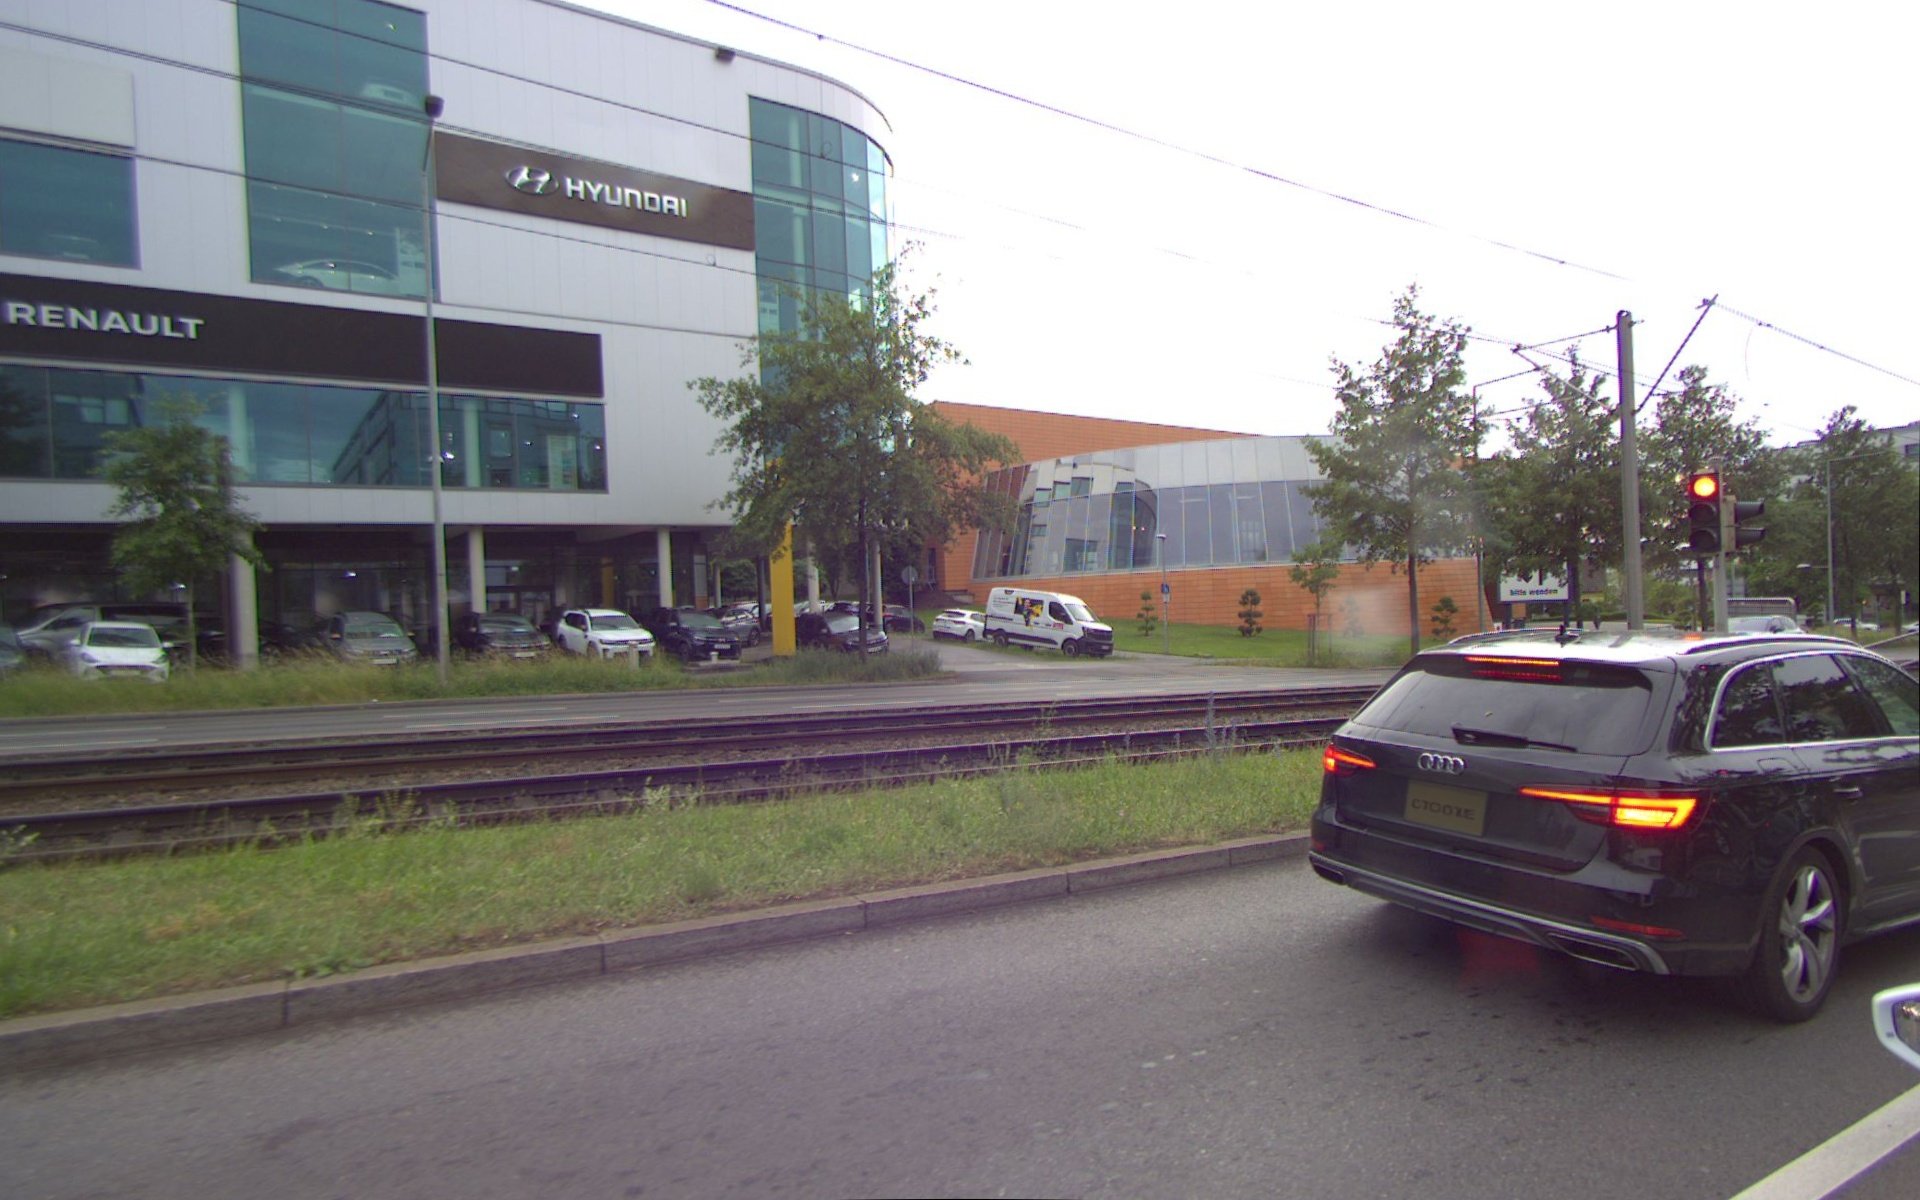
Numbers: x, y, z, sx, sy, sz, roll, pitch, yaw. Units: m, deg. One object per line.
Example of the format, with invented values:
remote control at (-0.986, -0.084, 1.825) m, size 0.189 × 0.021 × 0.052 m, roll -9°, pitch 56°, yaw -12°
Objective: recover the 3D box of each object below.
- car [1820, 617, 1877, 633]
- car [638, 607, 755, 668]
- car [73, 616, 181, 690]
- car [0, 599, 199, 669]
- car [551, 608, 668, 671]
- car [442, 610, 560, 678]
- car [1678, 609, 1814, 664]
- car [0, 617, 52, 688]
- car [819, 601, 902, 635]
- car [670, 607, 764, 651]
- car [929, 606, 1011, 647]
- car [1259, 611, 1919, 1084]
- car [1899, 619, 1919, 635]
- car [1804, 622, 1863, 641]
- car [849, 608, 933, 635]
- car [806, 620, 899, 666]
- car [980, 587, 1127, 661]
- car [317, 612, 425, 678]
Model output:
car at (87.696, 2.468, 99.196) m, size 1.645 × 1.455 × 4.050 m, roll 1°, pitch -4°, yaw -44°
car at (-8.487, 1.127, 32.124) m, size 1.984 × 1.637 × 4.324 m, roll 1°, pitch 2°, yaw -40°
car at (-20.457, 1.228, 24.700) m, size 1.906 × 1.479 × 3.999 m, roll 1°, pitch 2°, yaw -40°
car at (-24.552, 0.896, 28.345) m, size 1.962 × 1.806 × 4.544 m, roll 0°, pitch -1°, yaw 23°
car at (-10.707, 1.137, 30.510) m, size 1.984 × 1.571 × 4.324 m, roll 1°, pitch 2°, yaw -40°
car at (-13.167, 1.184, 28.659) m, size 1.984 × 1.571 × 4.324 m, roll 1°, pitch 2°, yaw -40°
car at (26.546, 1.219, 33.899) m, size 4.784 × 1.742 × 1.984 m, roll 1°, pitch -3°, yaw -31°
car at (-22.626, 1.170, 23.461) m, size 1.906 × 1.370 × 3.999 m, roll 1°, pitch 2°, yaw -40°
car at (-5.048, 0.897, 51.334) m, size 1.970 × 1.653 × 3.982 m, roll 0°, pitch -1°, yaw 39°
car at (-9.031, 1.050, 37.602) m, size 1.691 × 1.572 × 3.587 m, roll 0°, pitch -1°, yaw 20°
car at (0.472, 1.141, 44.407) m, size 1.703 × 1.688 × 3.734 m, roll 0°, pitch 0°, yaw 38°
car at (3.762, 0.815, 5.085) m, size 4.460 × 1.486 × 1.772 m, roll 1°, pitch 0°, yaw -31°
car at (88.859, 2.461, 92.063) m, size 1.639 × 1.455 × 3.844 m, roll 1°, pitch -3°, yaw -34°
car at (70.120, 2.522, 80.689) m, size 1.408 × 1.405 × 3.371 m, roll 0°, pitch 0°, yaw -13°
car at (-3.394, 1.048, 49.763) m, size 1.970 × 1.297 × 3.982 m, roll 0°, pitch -1°, yaw 39°
car at (-3.671, 1.410, 33.968) m, size 1.565 × 1.409 × 3.619 m, roll 0°, pitch 0°, yaw -36°
car at (3.685, 0.889, 40.353) m, size 5.544 × 2.616 × 2.392 m, roll 3°, pitch 2°, yaw 43°
car at (-16.078, 1.153, 27.337) m, size 1.917 × 1.479 × 3.974 m, roll 1°, pitch 2°, yaw -40°
